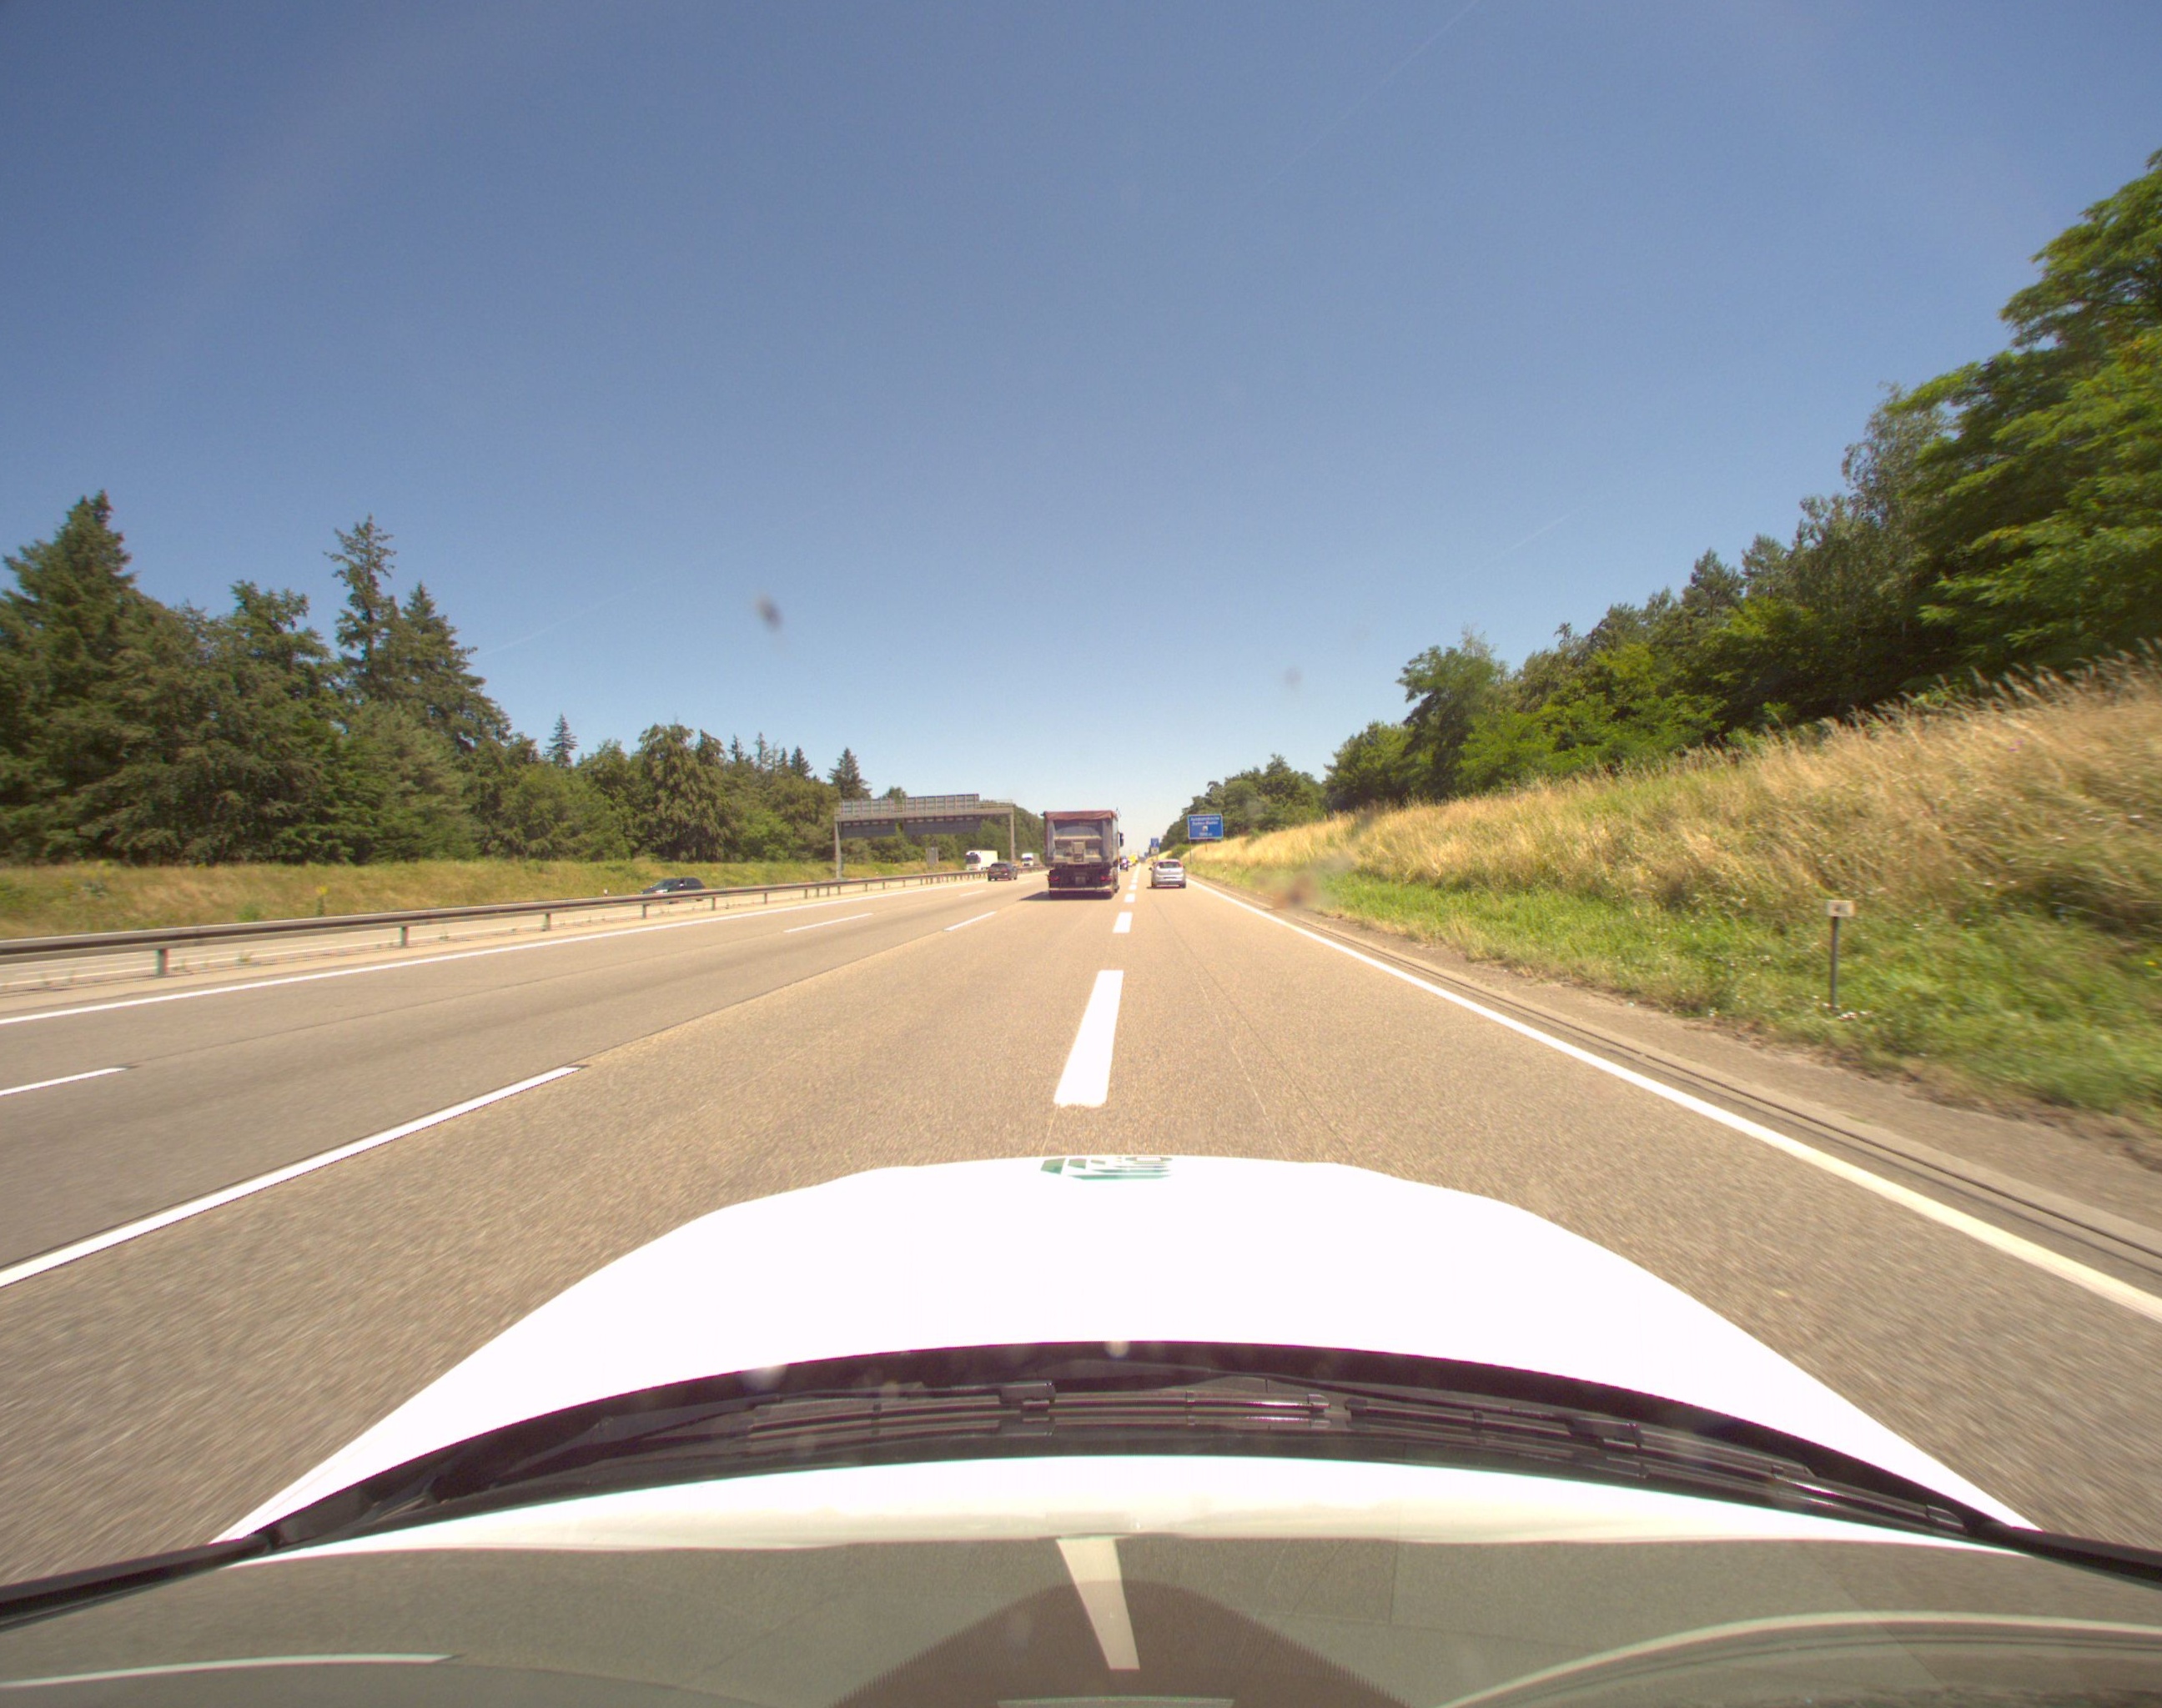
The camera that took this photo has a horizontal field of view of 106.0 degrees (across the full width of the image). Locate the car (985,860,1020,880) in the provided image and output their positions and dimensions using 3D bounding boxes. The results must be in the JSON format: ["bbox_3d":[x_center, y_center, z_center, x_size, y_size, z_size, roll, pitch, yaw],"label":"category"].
[{"bbox_3d":[-6.062,1.194,63.287,1.824,1.431,5.005,-1,0,4],"label":"car"}]

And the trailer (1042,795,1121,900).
[{"bbox_3d":[0.255,-0.222,34.145,2.725,3.758,9.116,-2,0,3],"label":"trailer"}]

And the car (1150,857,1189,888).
[{"bbox_3d":[4.510,0.894,41.768,1.713,1.491,3.739,-1,0,2],"label":"car"}]

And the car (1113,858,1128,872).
[{"bbox_3d":[4.881,1.382,100.440,1.824,1.672,4.004,0,-1,4],"label":"car"}]

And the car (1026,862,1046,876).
[{"bbox_3d":[-5.024,1.713,92.073,1.696,1.474,4.601,-2,0,4],"label":"car"}]

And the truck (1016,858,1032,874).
[{"bbox_3d":[-14.291,2.984,204.453,3.152,3.931,5.409,-1,-1,6],"label":"truck"}]

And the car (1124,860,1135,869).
[{"bbox_3d":[8.978,1.919,149.391,1.812,1.492,3.742,-1,-1,6],"label":"car"}]

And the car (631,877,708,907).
[{"bbox_3d":[-23.961,2.193,47.646,1.819,1.509,4.747,-2,-1,3],"label":"car"}]

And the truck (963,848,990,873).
[{"bbox_3d":[-17.880,1.096,139.710,3.198,4.018,6.225,-1,-1,6],"label":"truck"}]

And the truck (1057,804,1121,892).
[{"bbox_3d":[0.503,-0.251,38.551,2.673,3.758,5.948,-2,0,3],"label":"truck"}]

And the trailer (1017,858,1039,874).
[{"bbox_3d":[-13.635,3.098,210.778,3.152,3.931,13.986,-1,-1,6],"label":"trailer"}]

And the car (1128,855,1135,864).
[{"bbox_3d":[11.075,1.227,179.090,1.605,2.014,4.003,-1,-1,3],"label":"car"}]
